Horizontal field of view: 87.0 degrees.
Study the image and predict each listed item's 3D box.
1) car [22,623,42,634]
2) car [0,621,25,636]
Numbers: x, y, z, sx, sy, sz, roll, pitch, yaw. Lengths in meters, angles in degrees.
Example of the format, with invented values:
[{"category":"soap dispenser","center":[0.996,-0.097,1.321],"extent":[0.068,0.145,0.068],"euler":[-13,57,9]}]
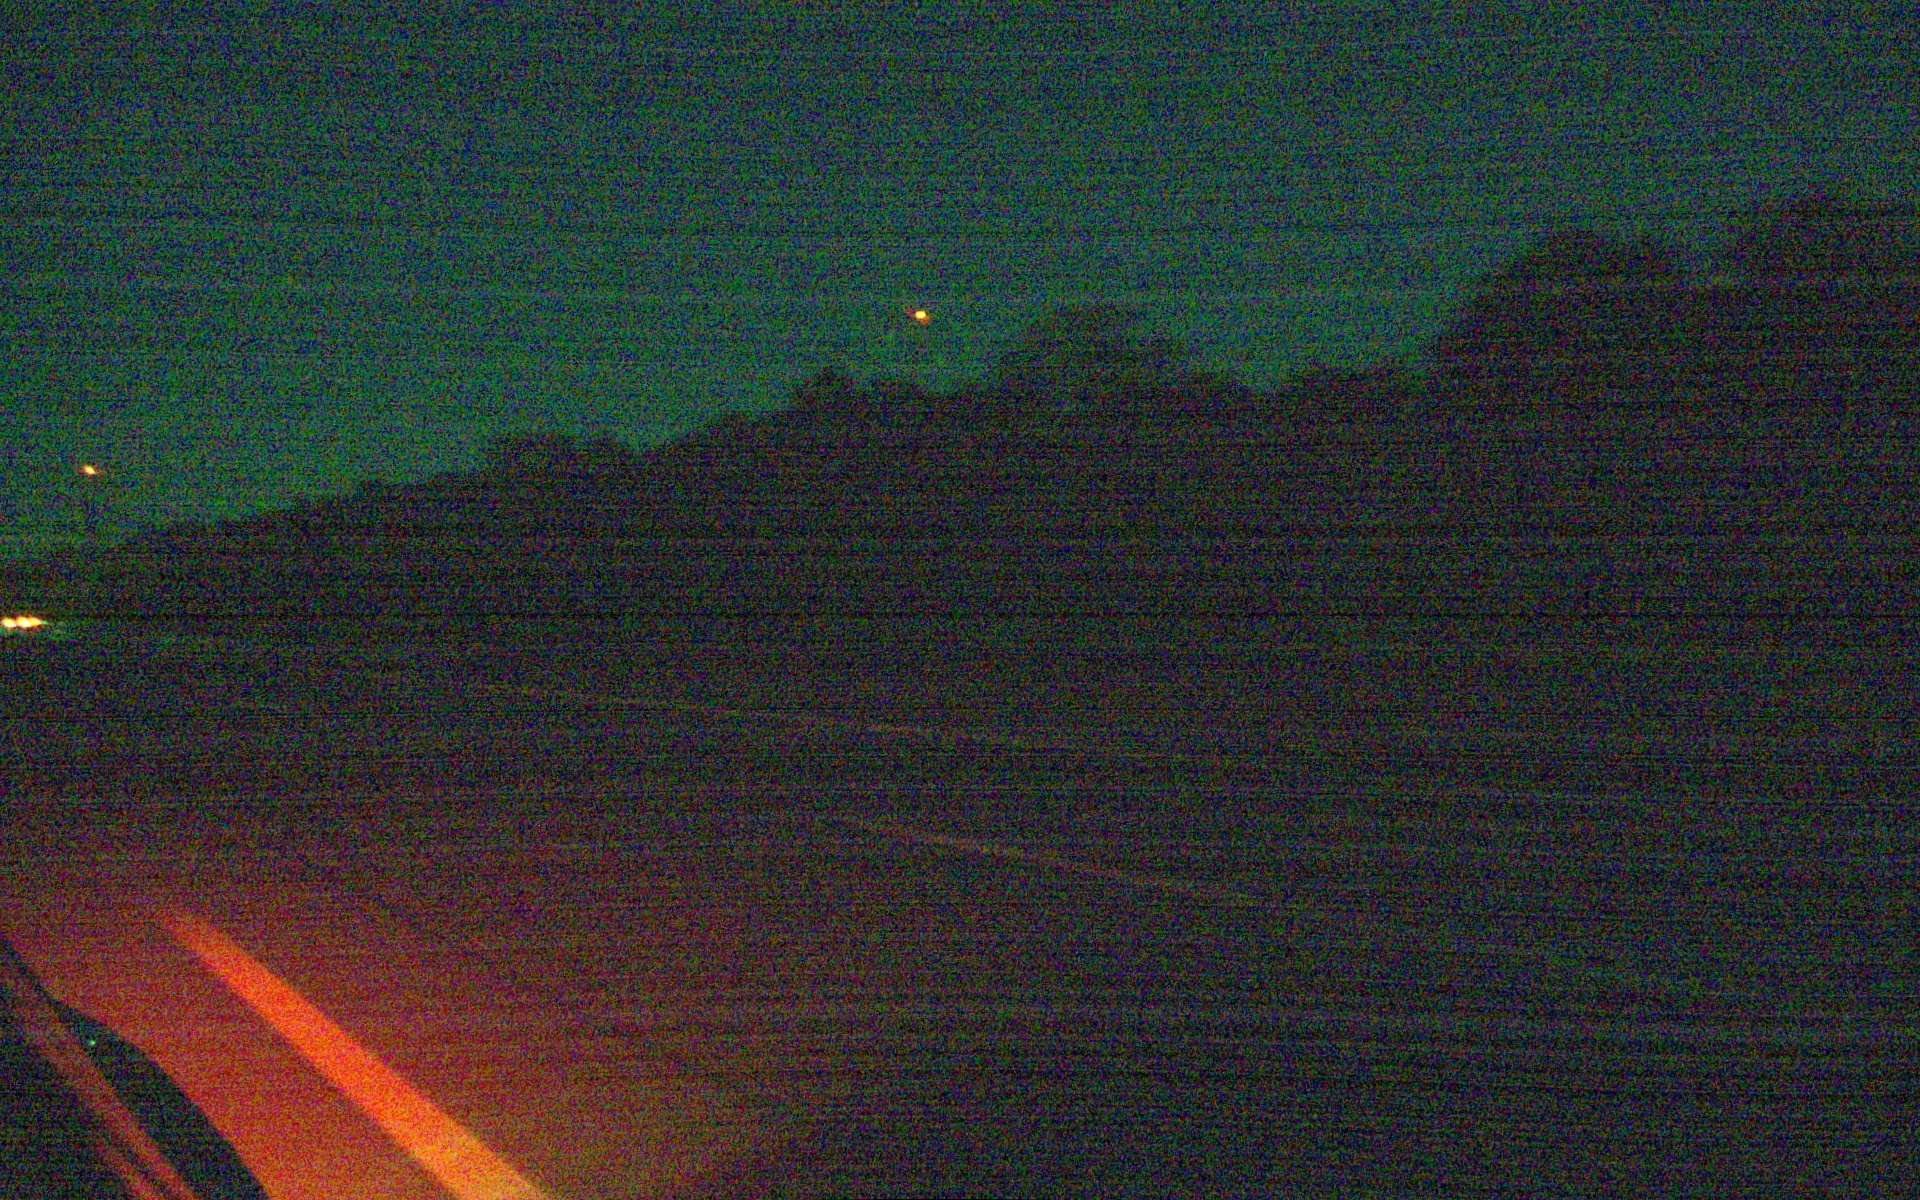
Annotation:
[{"category":"car","center":[-138.465,4.195,150.966],"extent":[3.998,1.490,1.773],"euler":[-1,0,41]},{"category":"car","center":[-115.046,3.421,122.678],"extent":[5.107,1.663,1.988],"euler":[-1,0,41]}]
